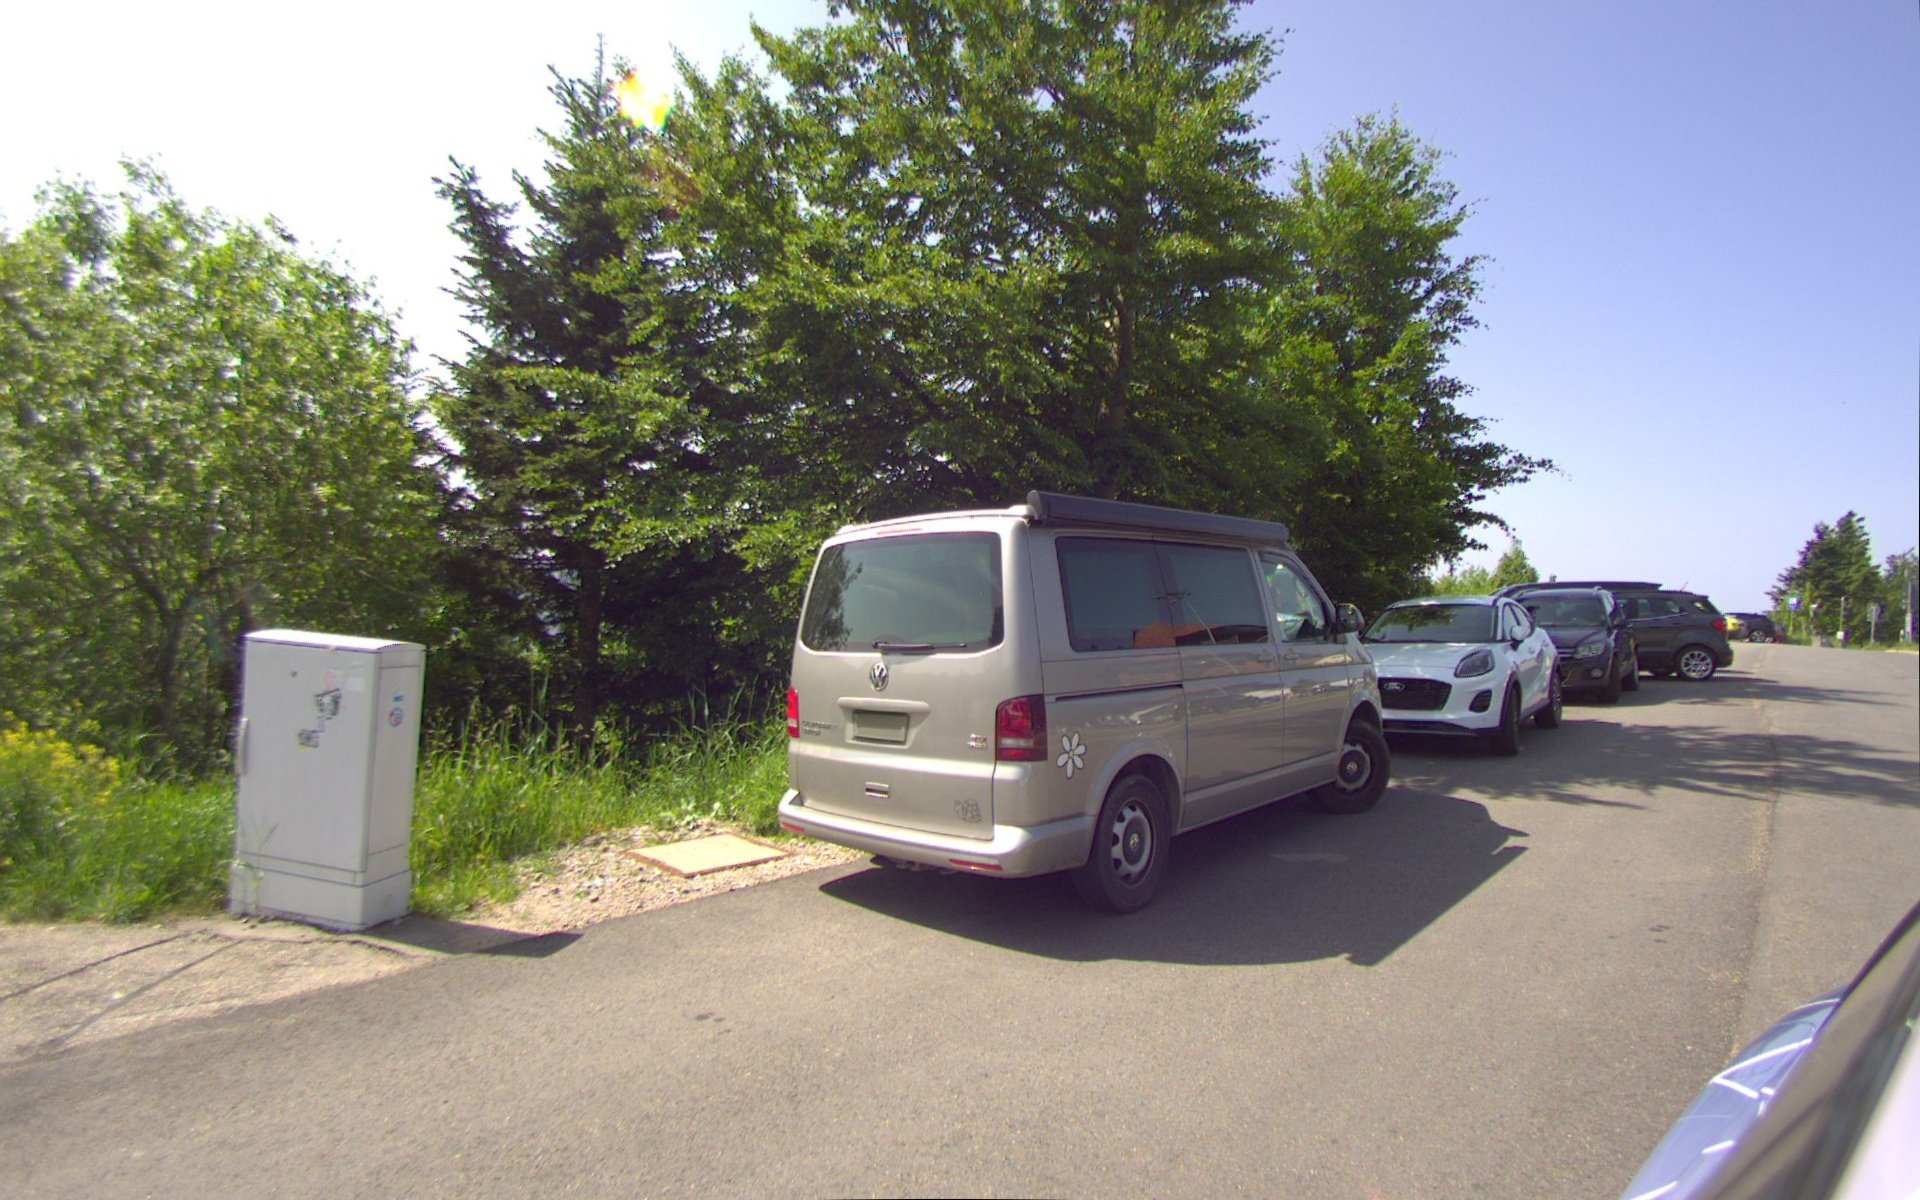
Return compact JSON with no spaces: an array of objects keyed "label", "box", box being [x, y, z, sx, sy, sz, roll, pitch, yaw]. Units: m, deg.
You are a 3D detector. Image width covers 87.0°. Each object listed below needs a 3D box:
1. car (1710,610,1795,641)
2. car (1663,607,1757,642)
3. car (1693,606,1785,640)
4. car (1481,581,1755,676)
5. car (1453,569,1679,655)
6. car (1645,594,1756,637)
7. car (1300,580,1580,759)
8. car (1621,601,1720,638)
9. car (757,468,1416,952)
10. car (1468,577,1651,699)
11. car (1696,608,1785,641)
[{"label":"car","box":[48.082,1.522,61.418,3.900,1.634,1.847,4,2,43]},{"label":"car","box":[40.921,1.281,55.255,3.900,1.634,1.847,4,2,43]},{"label":"car","box":[43.575,1.259,56.647,3.900,1.634,1.847,4,2,43]},{"label":"car","box":[12.174,0.530,19.050,3.951,1.639,1.863,-1,-1,21]},{"label":"car","box":[14.572,0.311,24.649,4.406,1.950,1.863,-1,-1,21]},{"label":"car","box":[38.728,0.766,52.973,4.446,1.949,1.847,4,2,43]},{"label":"car","box":[5.343,0.627,10.993,1.867,1.567,3.943,-1,-1,39]},{"label":"car","box":[36.210,0.948,51.617,3.900,1.634,1.847,4,2,43]},{"label":"car","box":[1.128,0.471,6.420,1.856,1.960,4.537,-2,-2,43]},{"label":"car","box":[9.358,0.525,15.660,1.867,1.639,3.943,-1,-1,39]},{"label":"car","box":[45.206,1.371,58.634,3.900,1.634,1.847,4,2,43]}]
